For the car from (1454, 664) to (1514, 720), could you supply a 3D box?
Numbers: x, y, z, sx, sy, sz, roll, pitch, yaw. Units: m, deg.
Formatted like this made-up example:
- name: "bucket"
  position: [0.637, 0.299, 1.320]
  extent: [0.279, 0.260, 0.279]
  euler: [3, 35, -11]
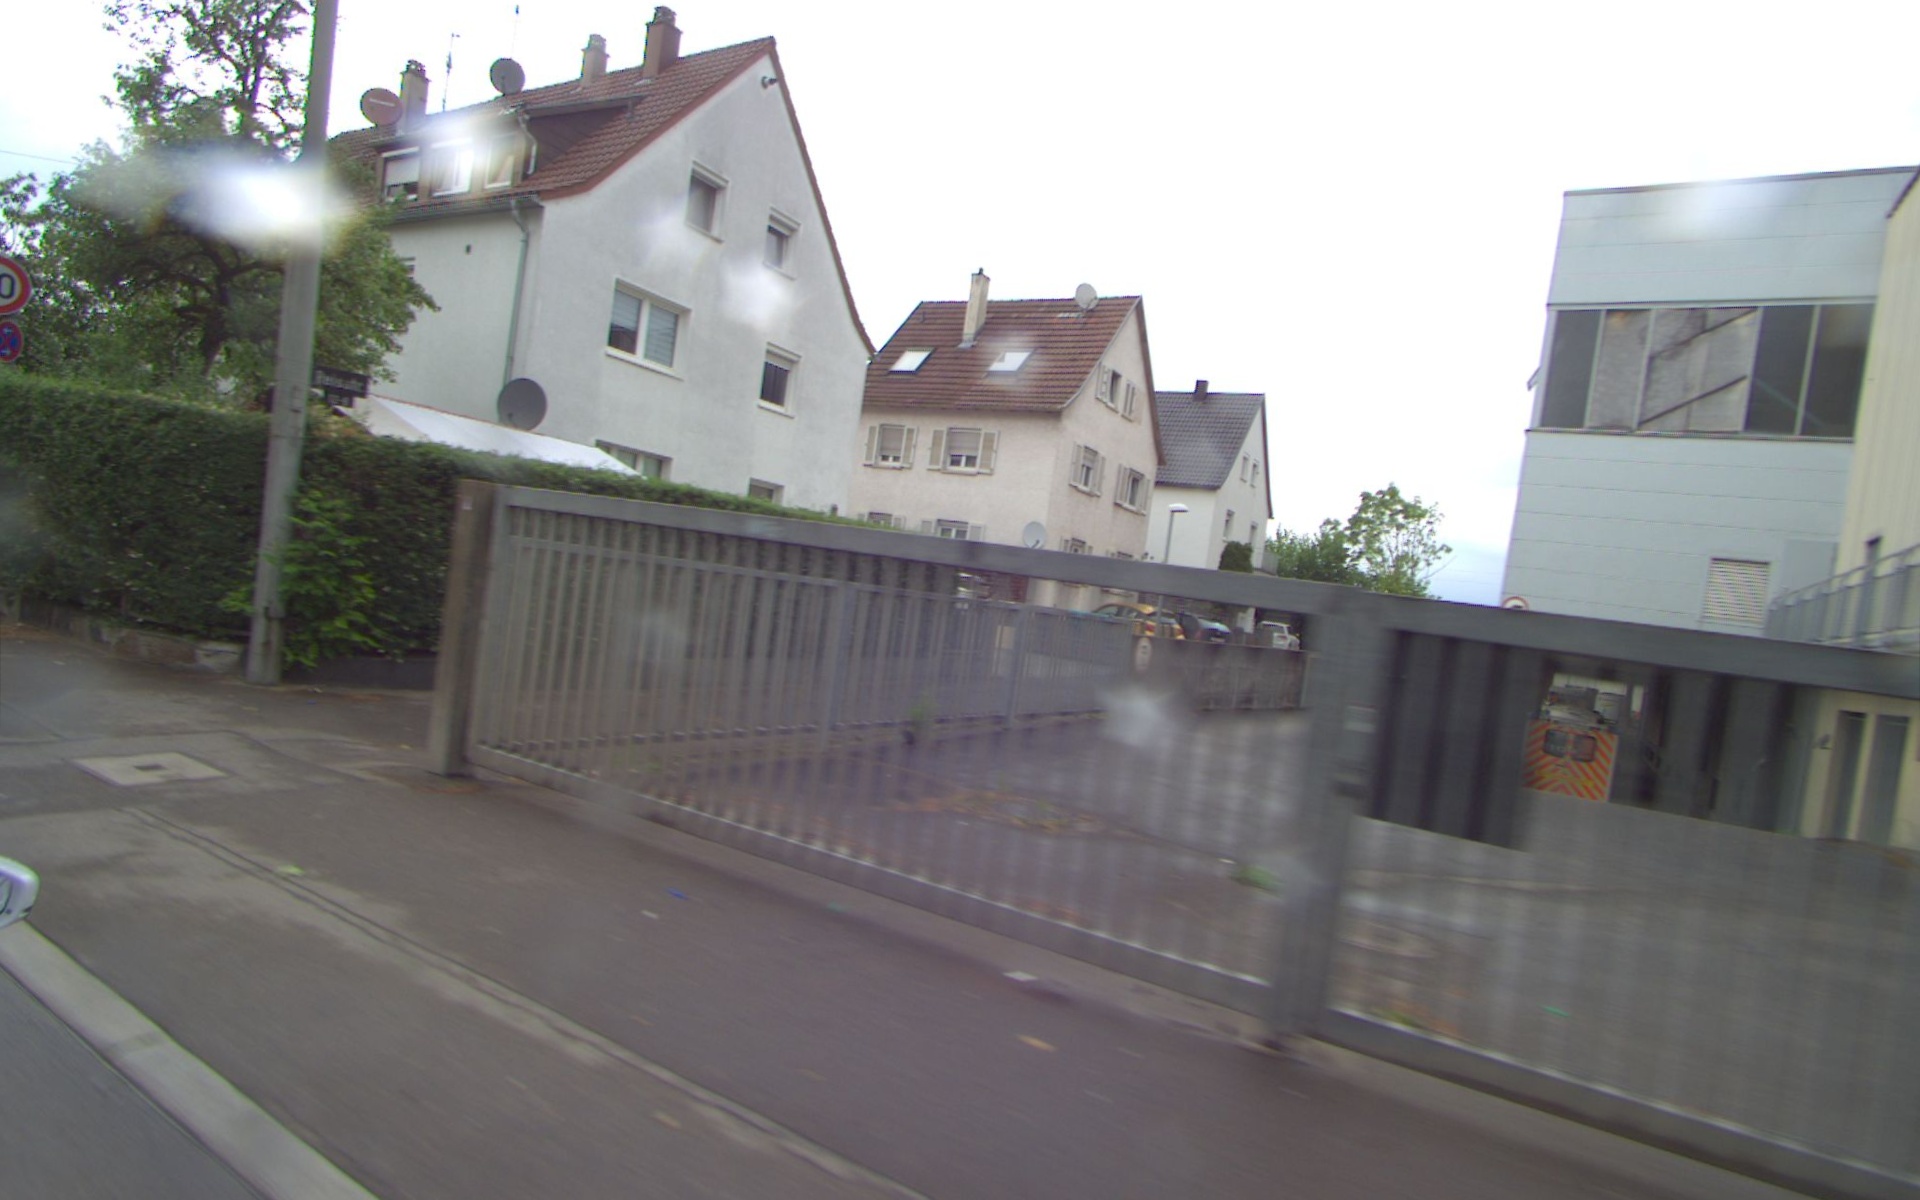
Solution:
- name: "car"
  position: [22.434, 3.933, 43.012]
  extent: [1.690, 2.047, 3.836]
  euler: [8, 0, 33]

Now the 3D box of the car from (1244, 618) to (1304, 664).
- name: "car"
  position: [14.462, 1.931, 46.143]
  extent: [1.859, 1.771, 3.996]
  euler: [7, -1, 26]

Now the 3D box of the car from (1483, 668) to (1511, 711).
- name: "car"
  position: [35.286, 5.902, 66.076]
  extent: [1.349, 2.542, 4.433]
  euler: [6, -2, 29]

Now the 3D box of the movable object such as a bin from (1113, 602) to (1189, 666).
- name: "movable object such as a bin"
  position: [5.487, 0.977, 28.841]
  extent: [1.565, 1.573, 1.628]
  euler: [6, -2, 30]

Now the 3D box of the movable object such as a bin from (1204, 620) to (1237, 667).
- name: "movable object such as a bin"
  position: [8.045, 1.355, 31.025]
  extent: [0.610, 1.323, 1.061]
  euler: [6, -1, 29]
